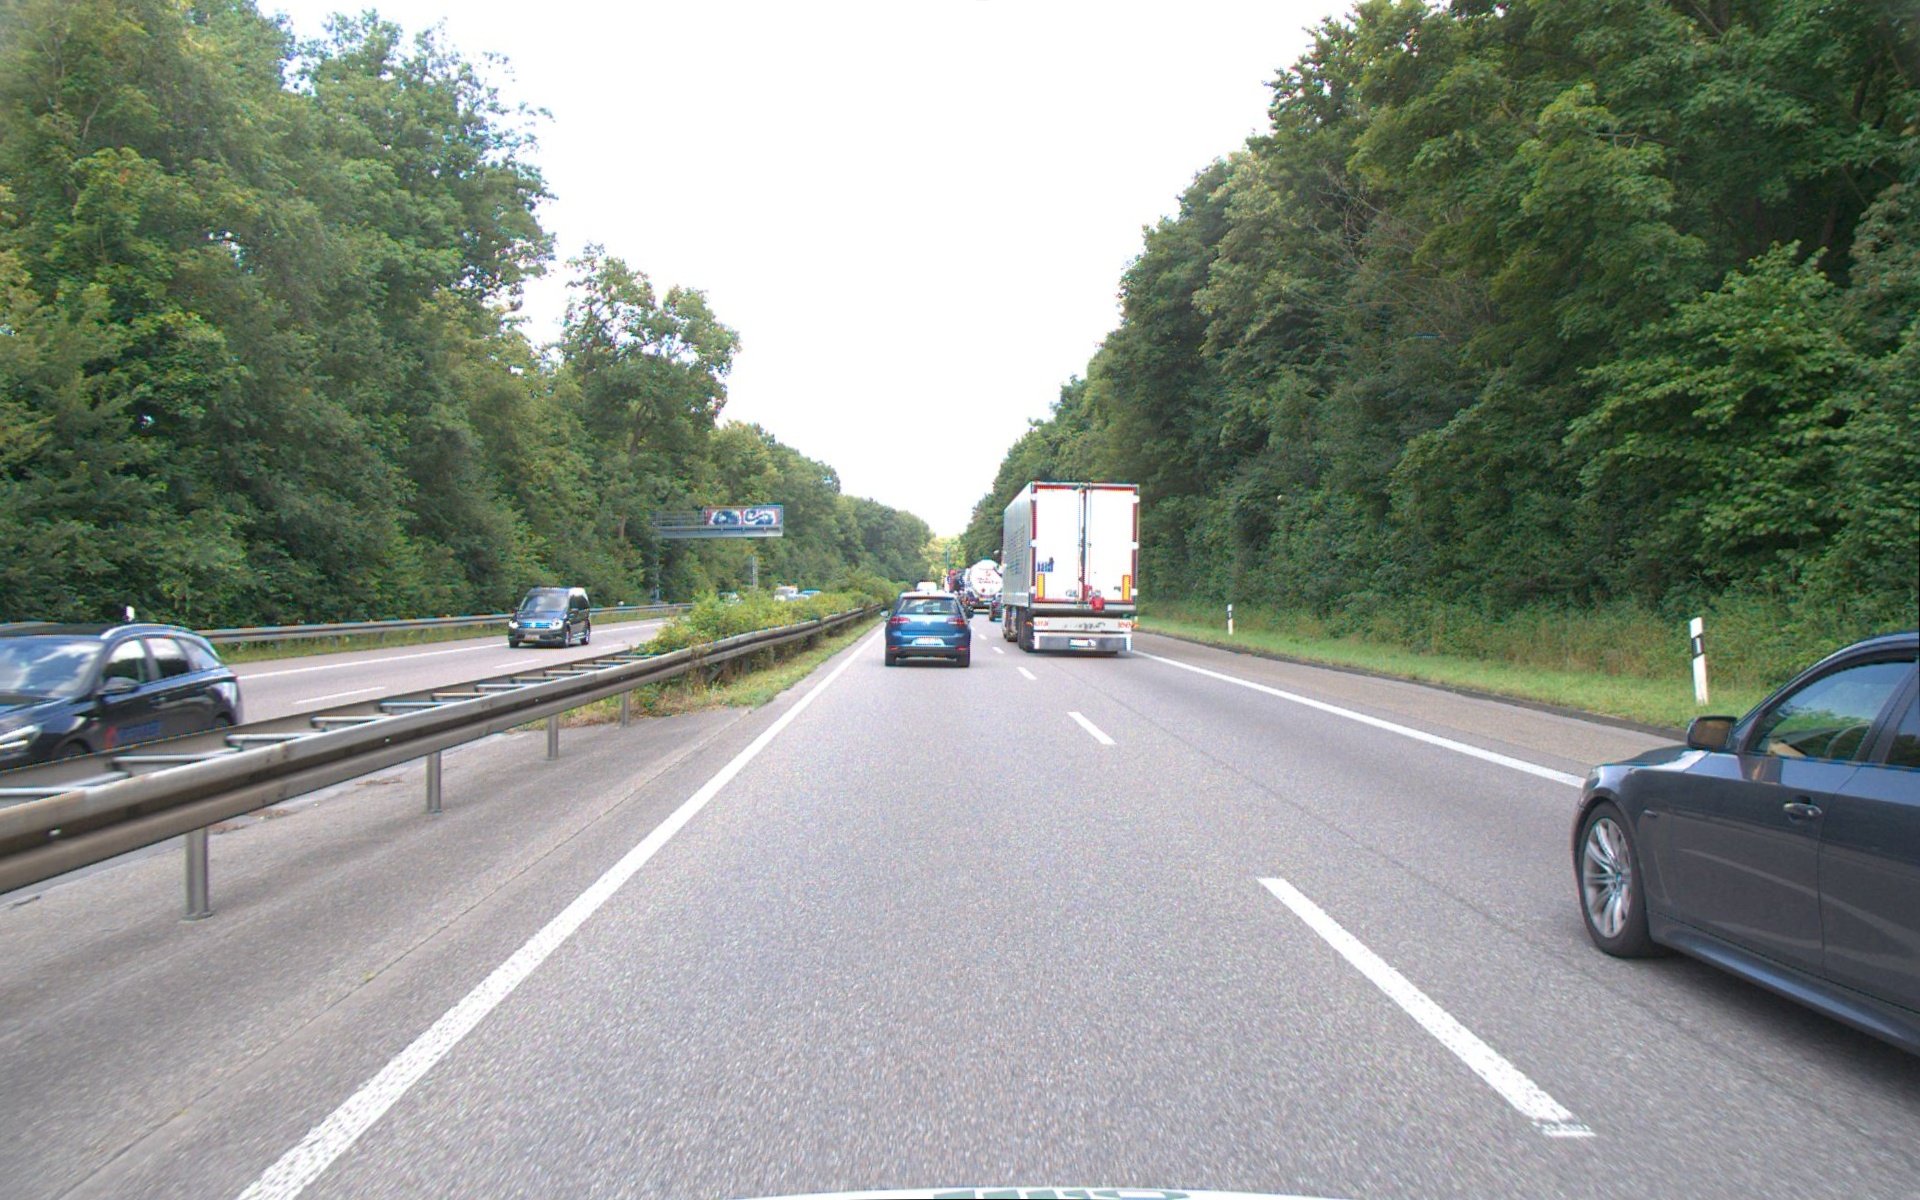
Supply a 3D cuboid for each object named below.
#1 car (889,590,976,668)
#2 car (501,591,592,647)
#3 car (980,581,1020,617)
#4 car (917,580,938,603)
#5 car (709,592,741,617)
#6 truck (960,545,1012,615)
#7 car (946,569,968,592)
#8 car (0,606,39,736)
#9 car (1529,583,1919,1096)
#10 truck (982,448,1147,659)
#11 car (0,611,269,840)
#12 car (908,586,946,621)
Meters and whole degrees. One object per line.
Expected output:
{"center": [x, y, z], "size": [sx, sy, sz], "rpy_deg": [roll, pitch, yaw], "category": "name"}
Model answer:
{"center": [-0.592, 0.550, 34.025], "size": [1.671, 1.495, 3.999], "rpy_deg": [1, 0, -2], "category": "car"}
{"center": [-12.683, 0.533, 51.008], "size": [1.724, 1.620, 4.632], "rpy_deg": [-1, 0, -2], "category": "car"}
{"center": [1.978, -0.078, 83.260], "size": [1.850, 1.759, 3.999], "rpy_deg": [-1, 0, -1], "category": "car"}
{"center": [-3.327, -0.867, 169.766], "size": [1.954, 2.294, 4.439], "rpy_deg": [-1, 0, -4], "category": "car"}
{"center": [-14.207, 0.246, 100.136], "size": [1.506, 1.421, 3.510], "rpy_deg": [-1, 0, -2], "category": "car"}
{"center": [1.682, -1.262, 112.652], "size": [3.166, 4.463, 12.968], "rpy_deg": [0, 0, -1], "category": "truck"}
{"center": [-0.365, -1.977, 168.772], "size": [1.954, 2.368, 4.439], "rpy_deg": [-1, 1, -4], "category": "car"}
{"center": [-12.314, 0.864, 18.278], "size": [1.646, 1.546, 4.857], "rpy_deg": [1, 0, -2], "category": "car"}
{"center": [3.673, 0.709, 5.527], "size": [1.738, 1.501, 4.879], "rpy_deg": [1, 0, -2], "category": "car"}
{"center": [2.478, -1.136, 43.440], "size": [3.177, 4.798, 11.002], "rpy_deg": [-1, 1, -2], "category": "truck"}
{"center": [-7.470, 0.911, 13.747], "size": [1.745, 1.546, 4.265], "rpy_deg": [-1, 0, -2], "category": "car"}
{"center": [-1.462, 0.129, 73.978], "size": [1.631, 1.526, 4.151], "rpy_deg": [0, 0, -1], "category": "car"}
